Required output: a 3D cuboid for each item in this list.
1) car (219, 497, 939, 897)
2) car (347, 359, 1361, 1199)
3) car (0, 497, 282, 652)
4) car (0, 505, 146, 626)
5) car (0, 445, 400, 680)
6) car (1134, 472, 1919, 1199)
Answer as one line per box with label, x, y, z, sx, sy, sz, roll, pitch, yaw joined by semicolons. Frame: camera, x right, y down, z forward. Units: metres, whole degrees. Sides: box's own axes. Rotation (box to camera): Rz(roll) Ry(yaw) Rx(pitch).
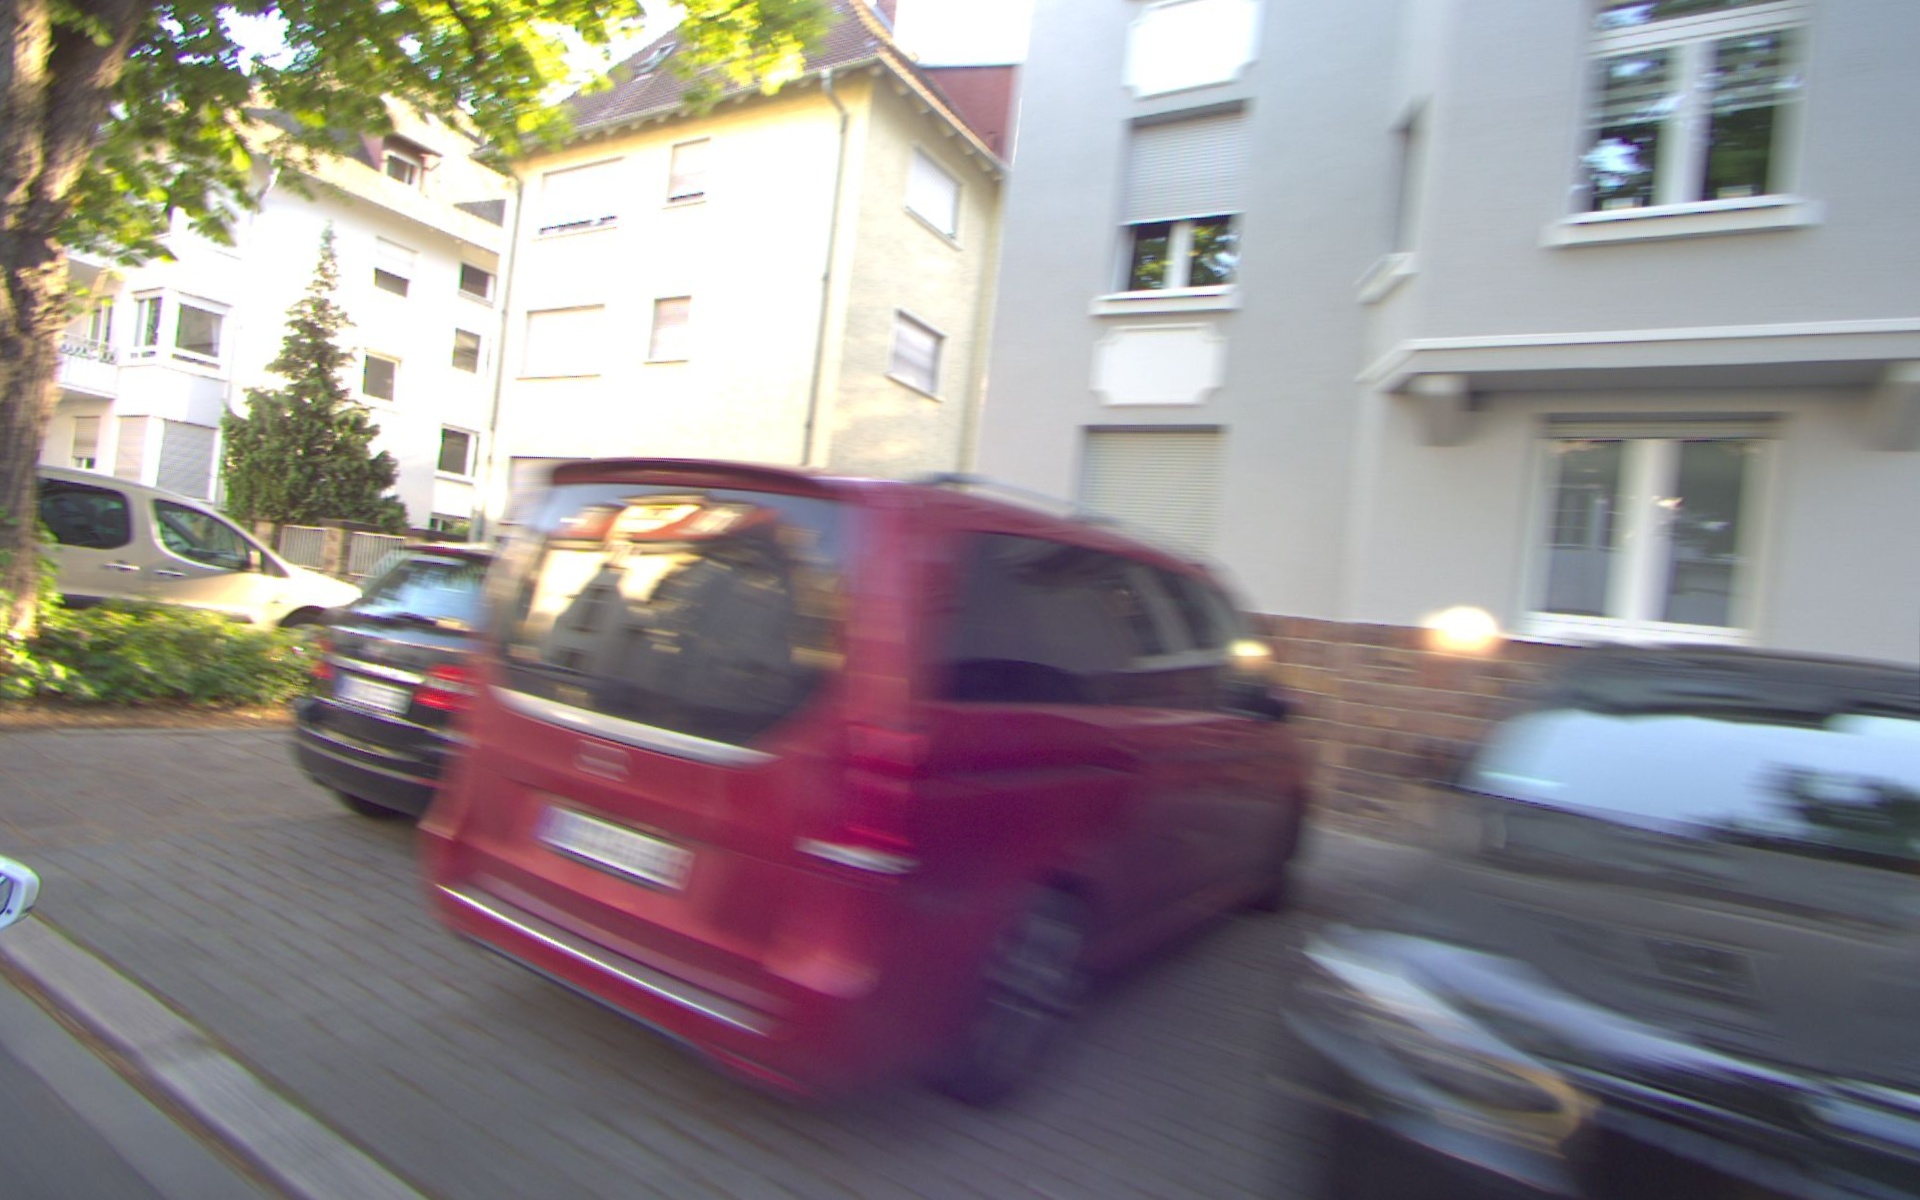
car;-1.957;0.533;6.318;1.659;1.622;3.900;6;-1;32
car;0.249;0.595;4.687;1.919;1.959;4.813;6;-1;33
car;-10.779;-0.349;11.776;1.728;1.559;4.311;6;-2;28
car;-12.868;-0.561;12.841;1.730;1.444;3.407;6;-1;31
car;-8.170;-0.291;9.851;1.728;1.907;4.311;5;-2;28
car;2.242;0.911;2.920;1.763;1.725;4.201;6;-2;35
